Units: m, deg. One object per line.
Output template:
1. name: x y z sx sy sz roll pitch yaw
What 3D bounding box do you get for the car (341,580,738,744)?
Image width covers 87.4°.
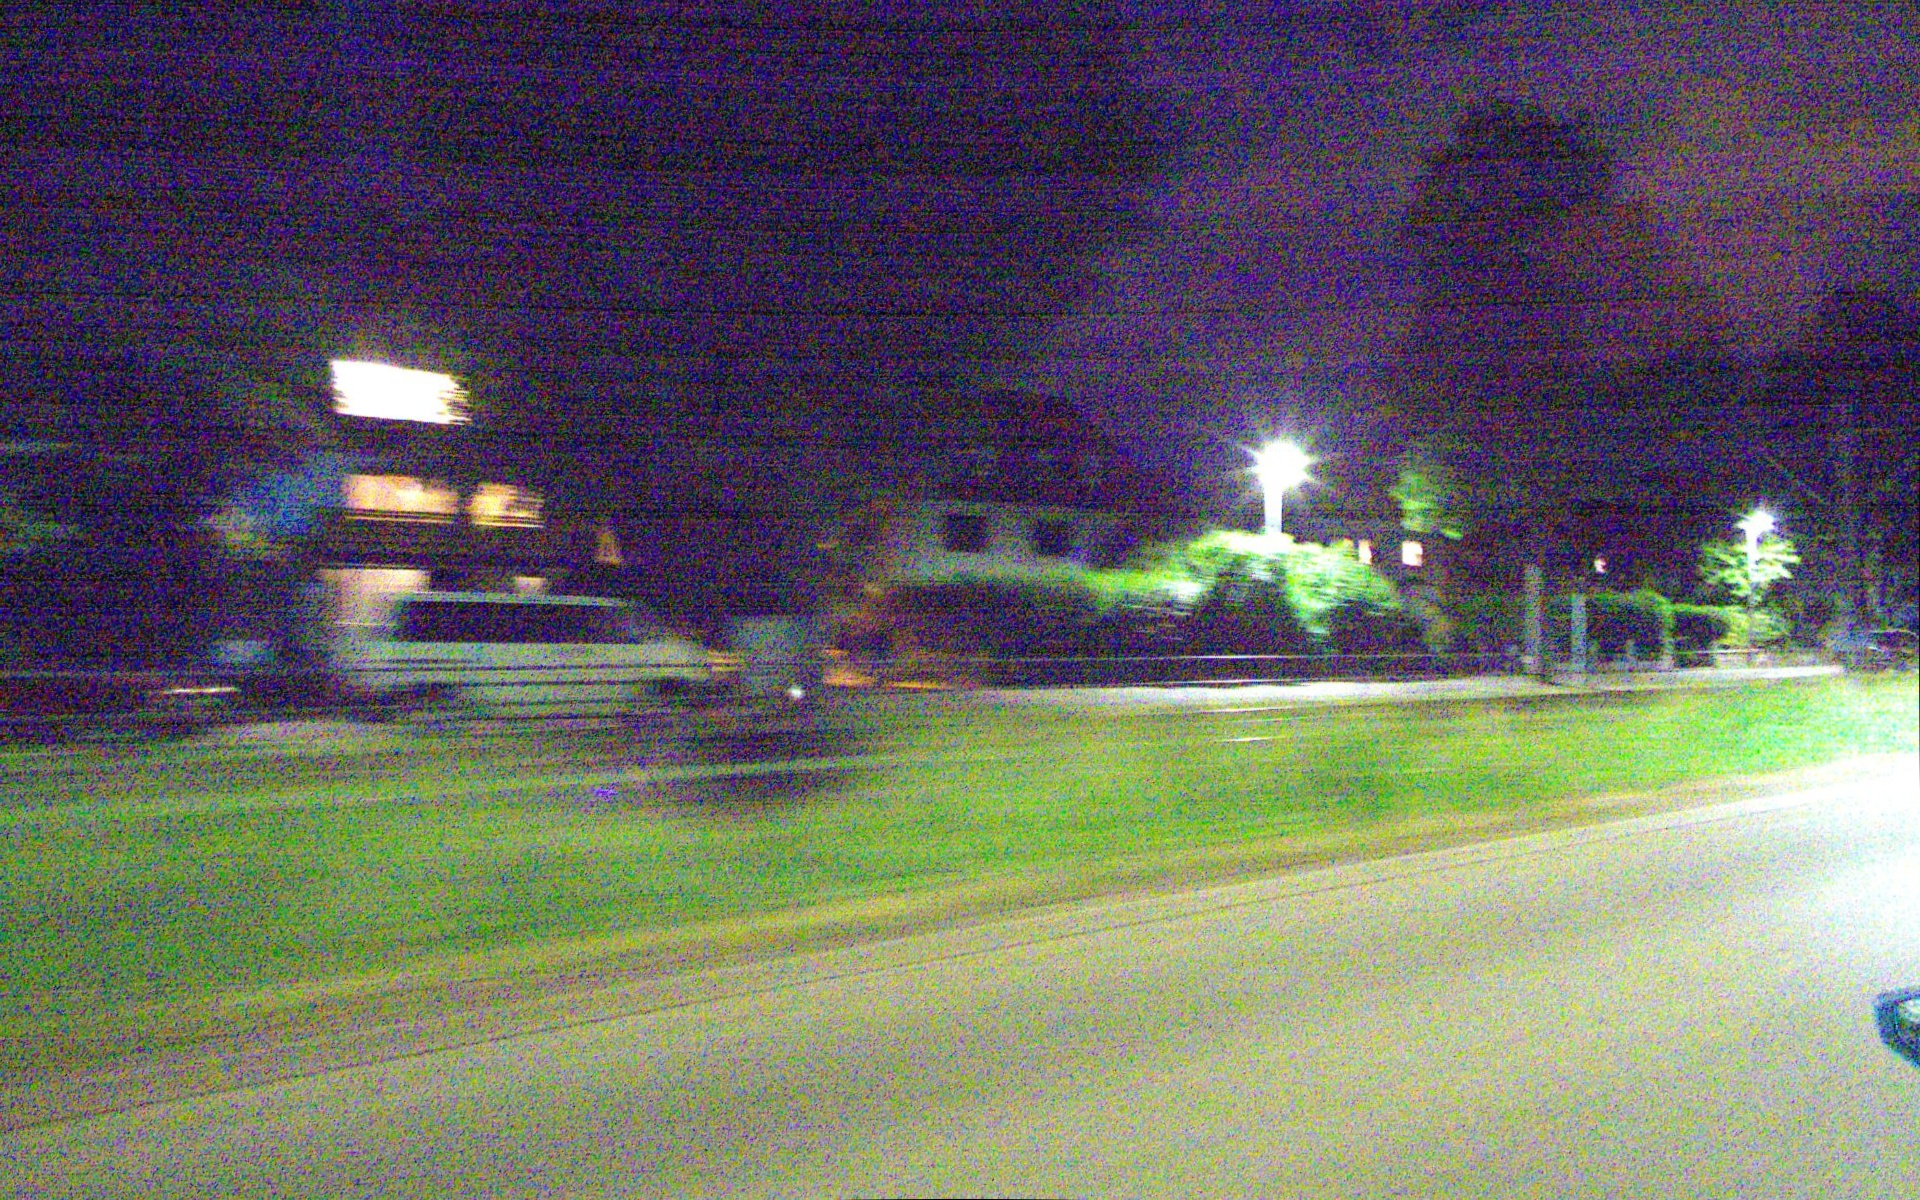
1. car: -5.733 0.816 13.967 4.828 1.929 1.846 2 -2 -33

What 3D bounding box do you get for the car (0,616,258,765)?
1. car: -10.943 0.940 10.965 5.106 1.542 1.895 2 -2 -28

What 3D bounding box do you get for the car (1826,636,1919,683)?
1. car: 35.018 2.229 38.074 4.623 1.649 1.984 2 -2 -31
